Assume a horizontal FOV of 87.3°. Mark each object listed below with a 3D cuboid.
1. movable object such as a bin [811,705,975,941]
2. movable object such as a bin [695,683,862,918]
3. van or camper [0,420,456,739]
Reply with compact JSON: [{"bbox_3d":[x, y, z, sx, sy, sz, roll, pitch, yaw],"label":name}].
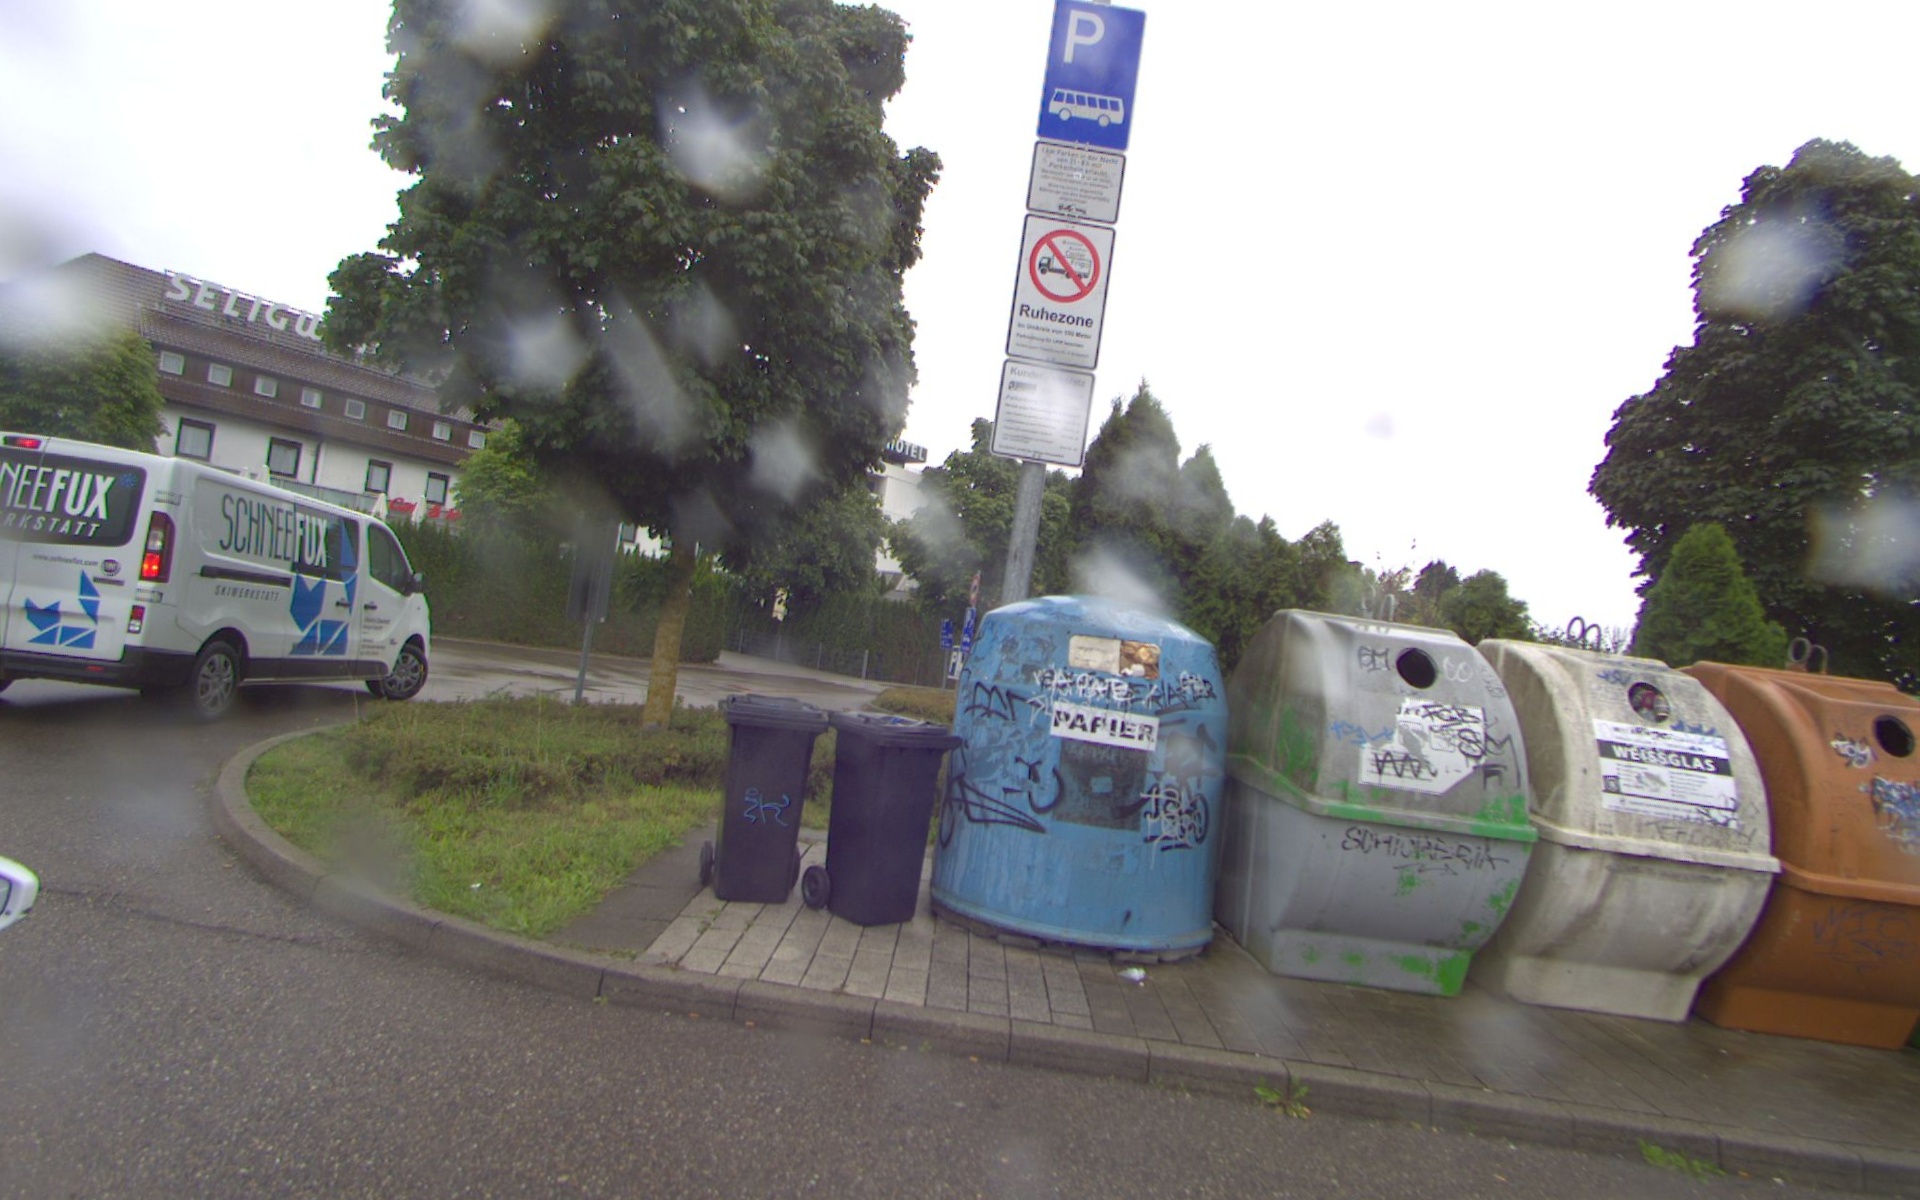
[{"bbox_3d":[-0.296,0.980,4.583,0.480,0.928,0.450,7,0,24],"label":"movable object such as a bin"},{"bbox_3d":[-0.830,0.893,4.653,0.480,0.950,0.450,7,0,24],"label":"movable object such as a bin"},{"bbox_3d":[-6.835,-0.111,9.170,2.158,1.966,5.197,9,-3,-7],"label":"van or camper"}]
